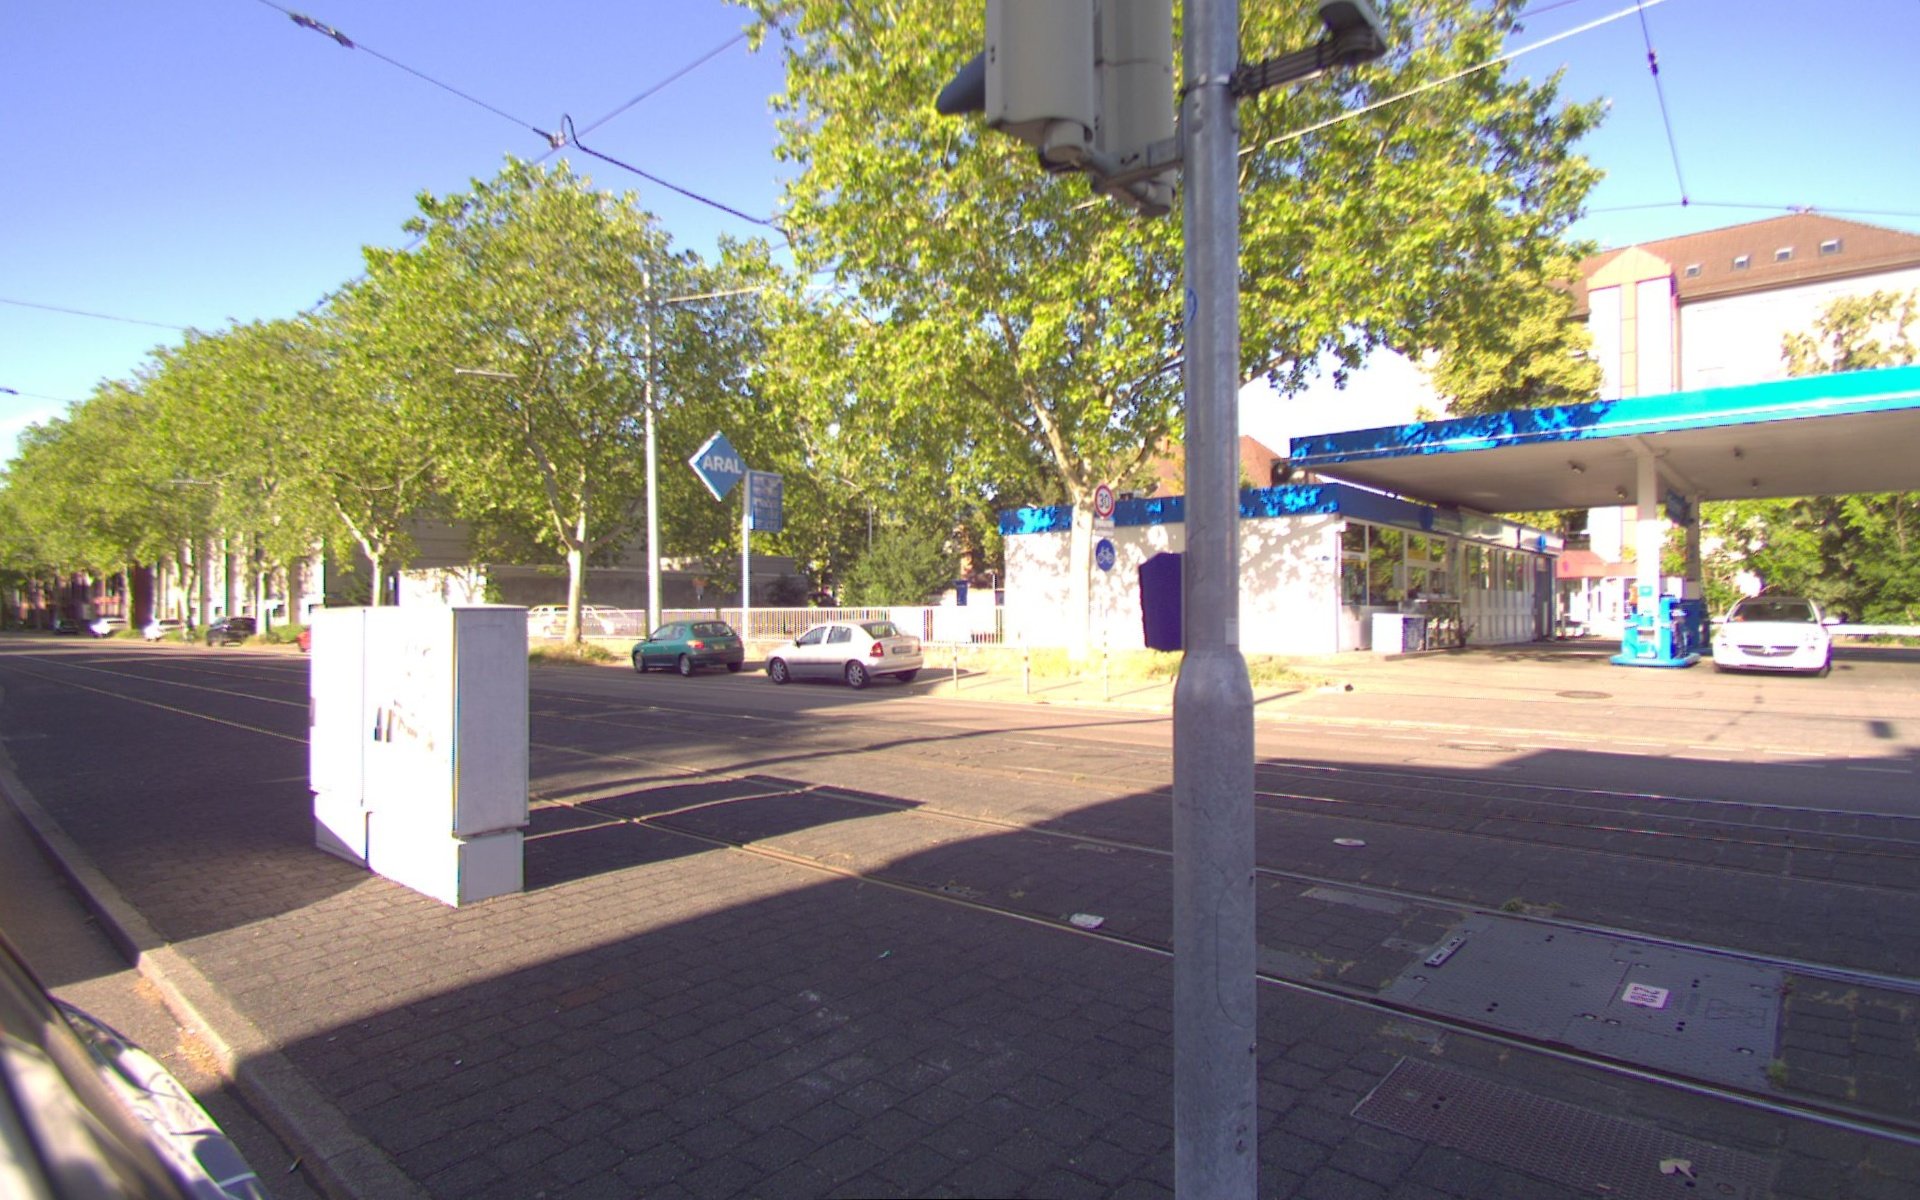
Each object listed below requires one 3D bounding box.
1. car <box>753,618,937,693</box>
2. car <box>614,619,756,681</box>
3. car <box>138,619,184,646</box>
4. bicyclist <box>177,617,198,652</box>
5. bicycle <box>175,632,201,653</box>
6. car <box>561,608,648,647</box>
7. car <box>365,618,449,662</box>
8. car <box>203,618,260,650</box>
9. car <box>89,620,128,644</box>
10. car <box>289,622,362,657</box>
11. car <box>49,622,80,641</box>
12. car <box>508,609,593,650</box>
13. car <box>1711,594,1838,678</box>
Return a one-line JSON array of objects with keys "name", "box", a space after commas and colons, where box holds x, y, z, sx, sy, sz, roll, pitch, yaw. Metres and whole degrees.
[{"name": "car", "box": [-2.621, 1.180, 22.625, 3.997, 1.418, 1.823, -1, 1, 40]}, {"name": "car", "box": [-7.429, 1.278, 27.114, 4.138, 1.418, 1.820, -1, 1, 45]}, {"name": "car", "box": [-53.845, 2.166, 68.178, 4.098, 1.686, 1.821, -1, 1, 44]}, {"name": "bicyclist", "box": [-42.612, 1.893, 55.792, 1.070, 1.878, 0.711, -1, -2, 41]}, {"name": "bicycle", "box": [-42.581, 2.321, 55.805, 2.532, 1.129, 0.645, -1, -1, 41]}, {"name": "car", "box": [-15.395, 1.175, 43.750, 3.999, 1.545, 1.822, -1, 1, 42]}, {"name": "car", "box": [-21.966, 1.544, 40.163, 4.002, 1.545, 1.820, -1, 1, 45]}, {"name": "car", "box": [-40.660, 1.890, 56.455, 4.098, 1.628, 1.821, -1, 1, 44]}, {"name": "car", "box": [-66.950, 2.495, 79.548, 4.098, 1.686, 1.821, -1, 1, 44]}, {"name": "car", "box": [-28.967, 1.778, 46.155, 4.001, 1.418, 1.821, -1, 1, 44]}, {"name": "car", "box": [-85.049, 2.953, 96.068, 4.098, 1.686, 1.821, -1, 1, 44]}, {"name": "car", "box": [-17.135, 1.199, 42.257, 4.002, 1.545, 1.820, -1, 1, 45]}, {"name": "car", "box": [16.021, 0.667, 19.867, 1.780, 1.475, 3.946, -1, -1, 40]}]
